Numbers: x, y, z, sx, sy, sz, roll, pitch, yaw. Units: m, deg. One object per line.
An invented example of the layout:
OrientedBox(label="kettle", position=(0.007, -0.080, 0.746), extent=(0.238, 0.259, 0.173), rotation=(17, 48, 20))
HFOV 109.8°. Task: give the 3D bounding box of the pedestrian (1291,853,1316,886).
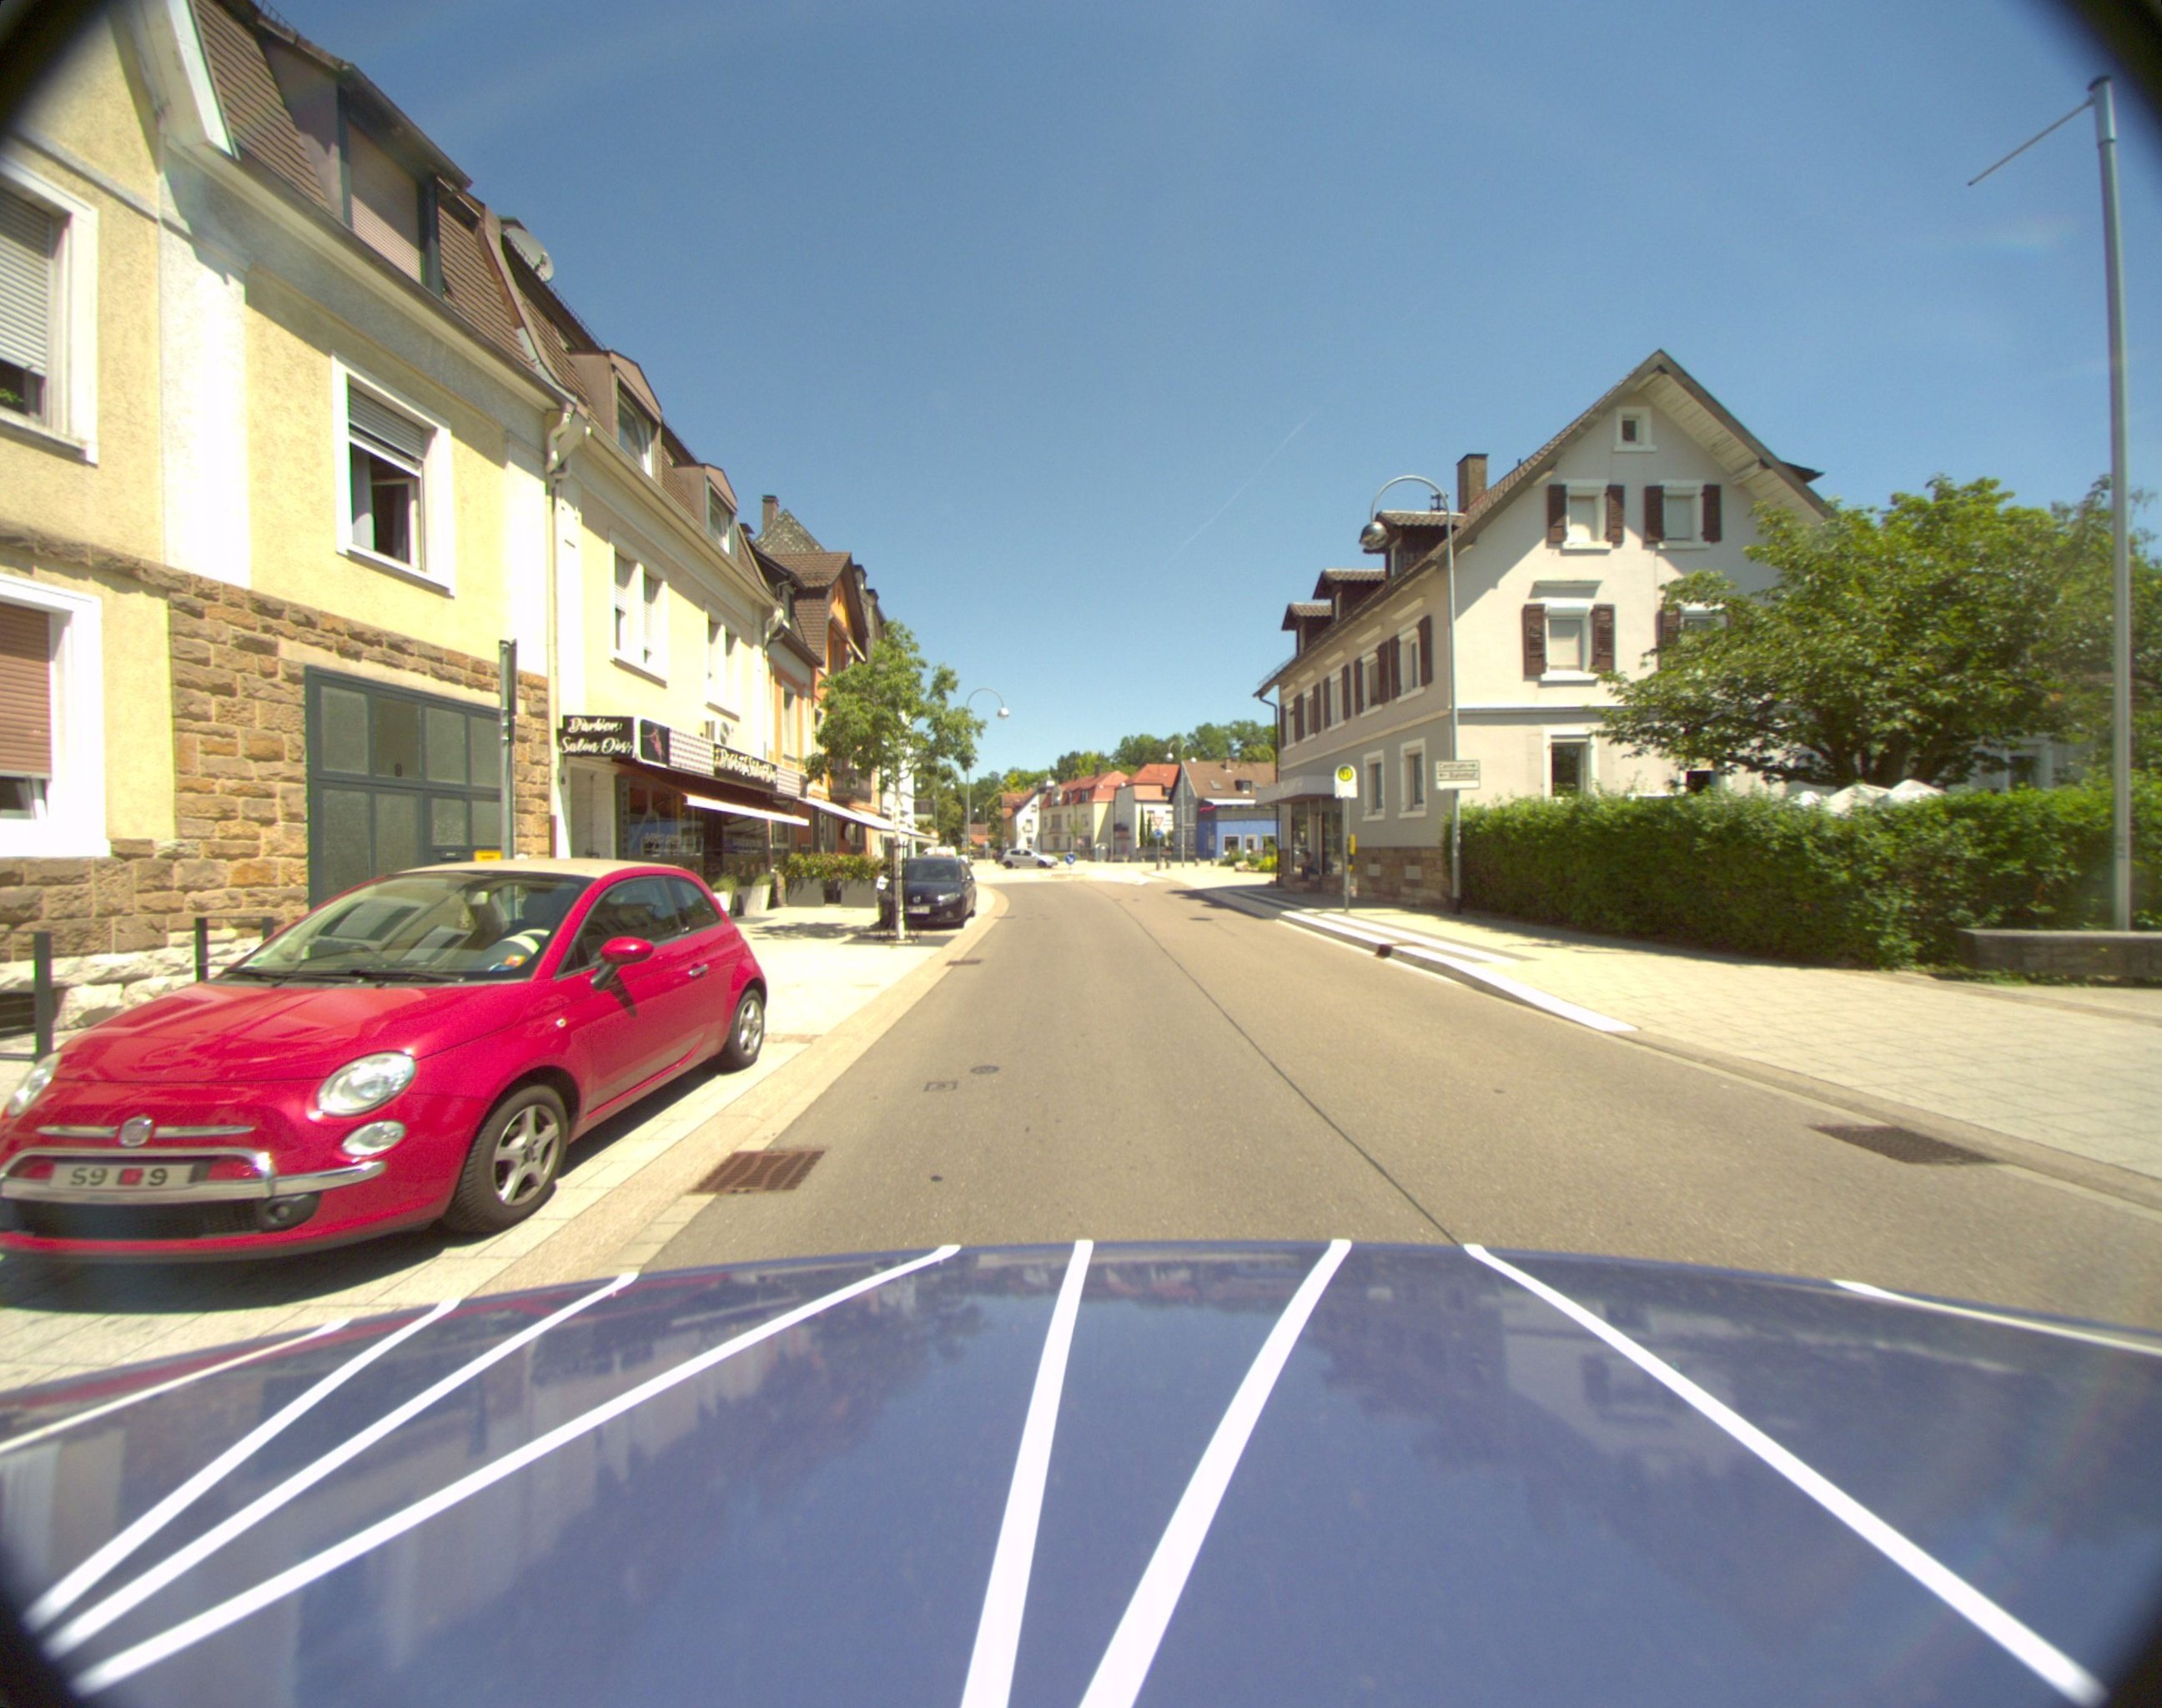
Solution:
OrientedBox(label="pedestrian", position=(7.288, 0.497, 24.874), extent=(0.598, 1.053, 0.567), rotation=(-1, 1, -5))

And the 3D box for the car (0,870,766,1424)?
OrientedBox(label="car", position=(-3.163, 0.893, 3.896), extent=(1.683, 1.505, 3.386), rotation=(1, 1, 0))

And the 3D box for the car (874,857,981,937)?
OrientedBox(label="car", position=(-3.292, 0.851, 17.068), extent=(1.735, 1.464, 4.322), rotation=(1, 1, -3))

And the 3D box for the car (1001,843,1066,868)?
OrientedBox(label="car", position=(-3.491, 0.093, 55.692), extent=(4.181, 1.587, 2.002), rotation=(-3, 3, 21))

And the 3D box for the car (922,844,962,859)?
OrientedBox(label="car", position=(-24.323, -0.499, 133.325), extent=(6.356, 2.447, 2.308), rotation=(-2, 1, 5))
